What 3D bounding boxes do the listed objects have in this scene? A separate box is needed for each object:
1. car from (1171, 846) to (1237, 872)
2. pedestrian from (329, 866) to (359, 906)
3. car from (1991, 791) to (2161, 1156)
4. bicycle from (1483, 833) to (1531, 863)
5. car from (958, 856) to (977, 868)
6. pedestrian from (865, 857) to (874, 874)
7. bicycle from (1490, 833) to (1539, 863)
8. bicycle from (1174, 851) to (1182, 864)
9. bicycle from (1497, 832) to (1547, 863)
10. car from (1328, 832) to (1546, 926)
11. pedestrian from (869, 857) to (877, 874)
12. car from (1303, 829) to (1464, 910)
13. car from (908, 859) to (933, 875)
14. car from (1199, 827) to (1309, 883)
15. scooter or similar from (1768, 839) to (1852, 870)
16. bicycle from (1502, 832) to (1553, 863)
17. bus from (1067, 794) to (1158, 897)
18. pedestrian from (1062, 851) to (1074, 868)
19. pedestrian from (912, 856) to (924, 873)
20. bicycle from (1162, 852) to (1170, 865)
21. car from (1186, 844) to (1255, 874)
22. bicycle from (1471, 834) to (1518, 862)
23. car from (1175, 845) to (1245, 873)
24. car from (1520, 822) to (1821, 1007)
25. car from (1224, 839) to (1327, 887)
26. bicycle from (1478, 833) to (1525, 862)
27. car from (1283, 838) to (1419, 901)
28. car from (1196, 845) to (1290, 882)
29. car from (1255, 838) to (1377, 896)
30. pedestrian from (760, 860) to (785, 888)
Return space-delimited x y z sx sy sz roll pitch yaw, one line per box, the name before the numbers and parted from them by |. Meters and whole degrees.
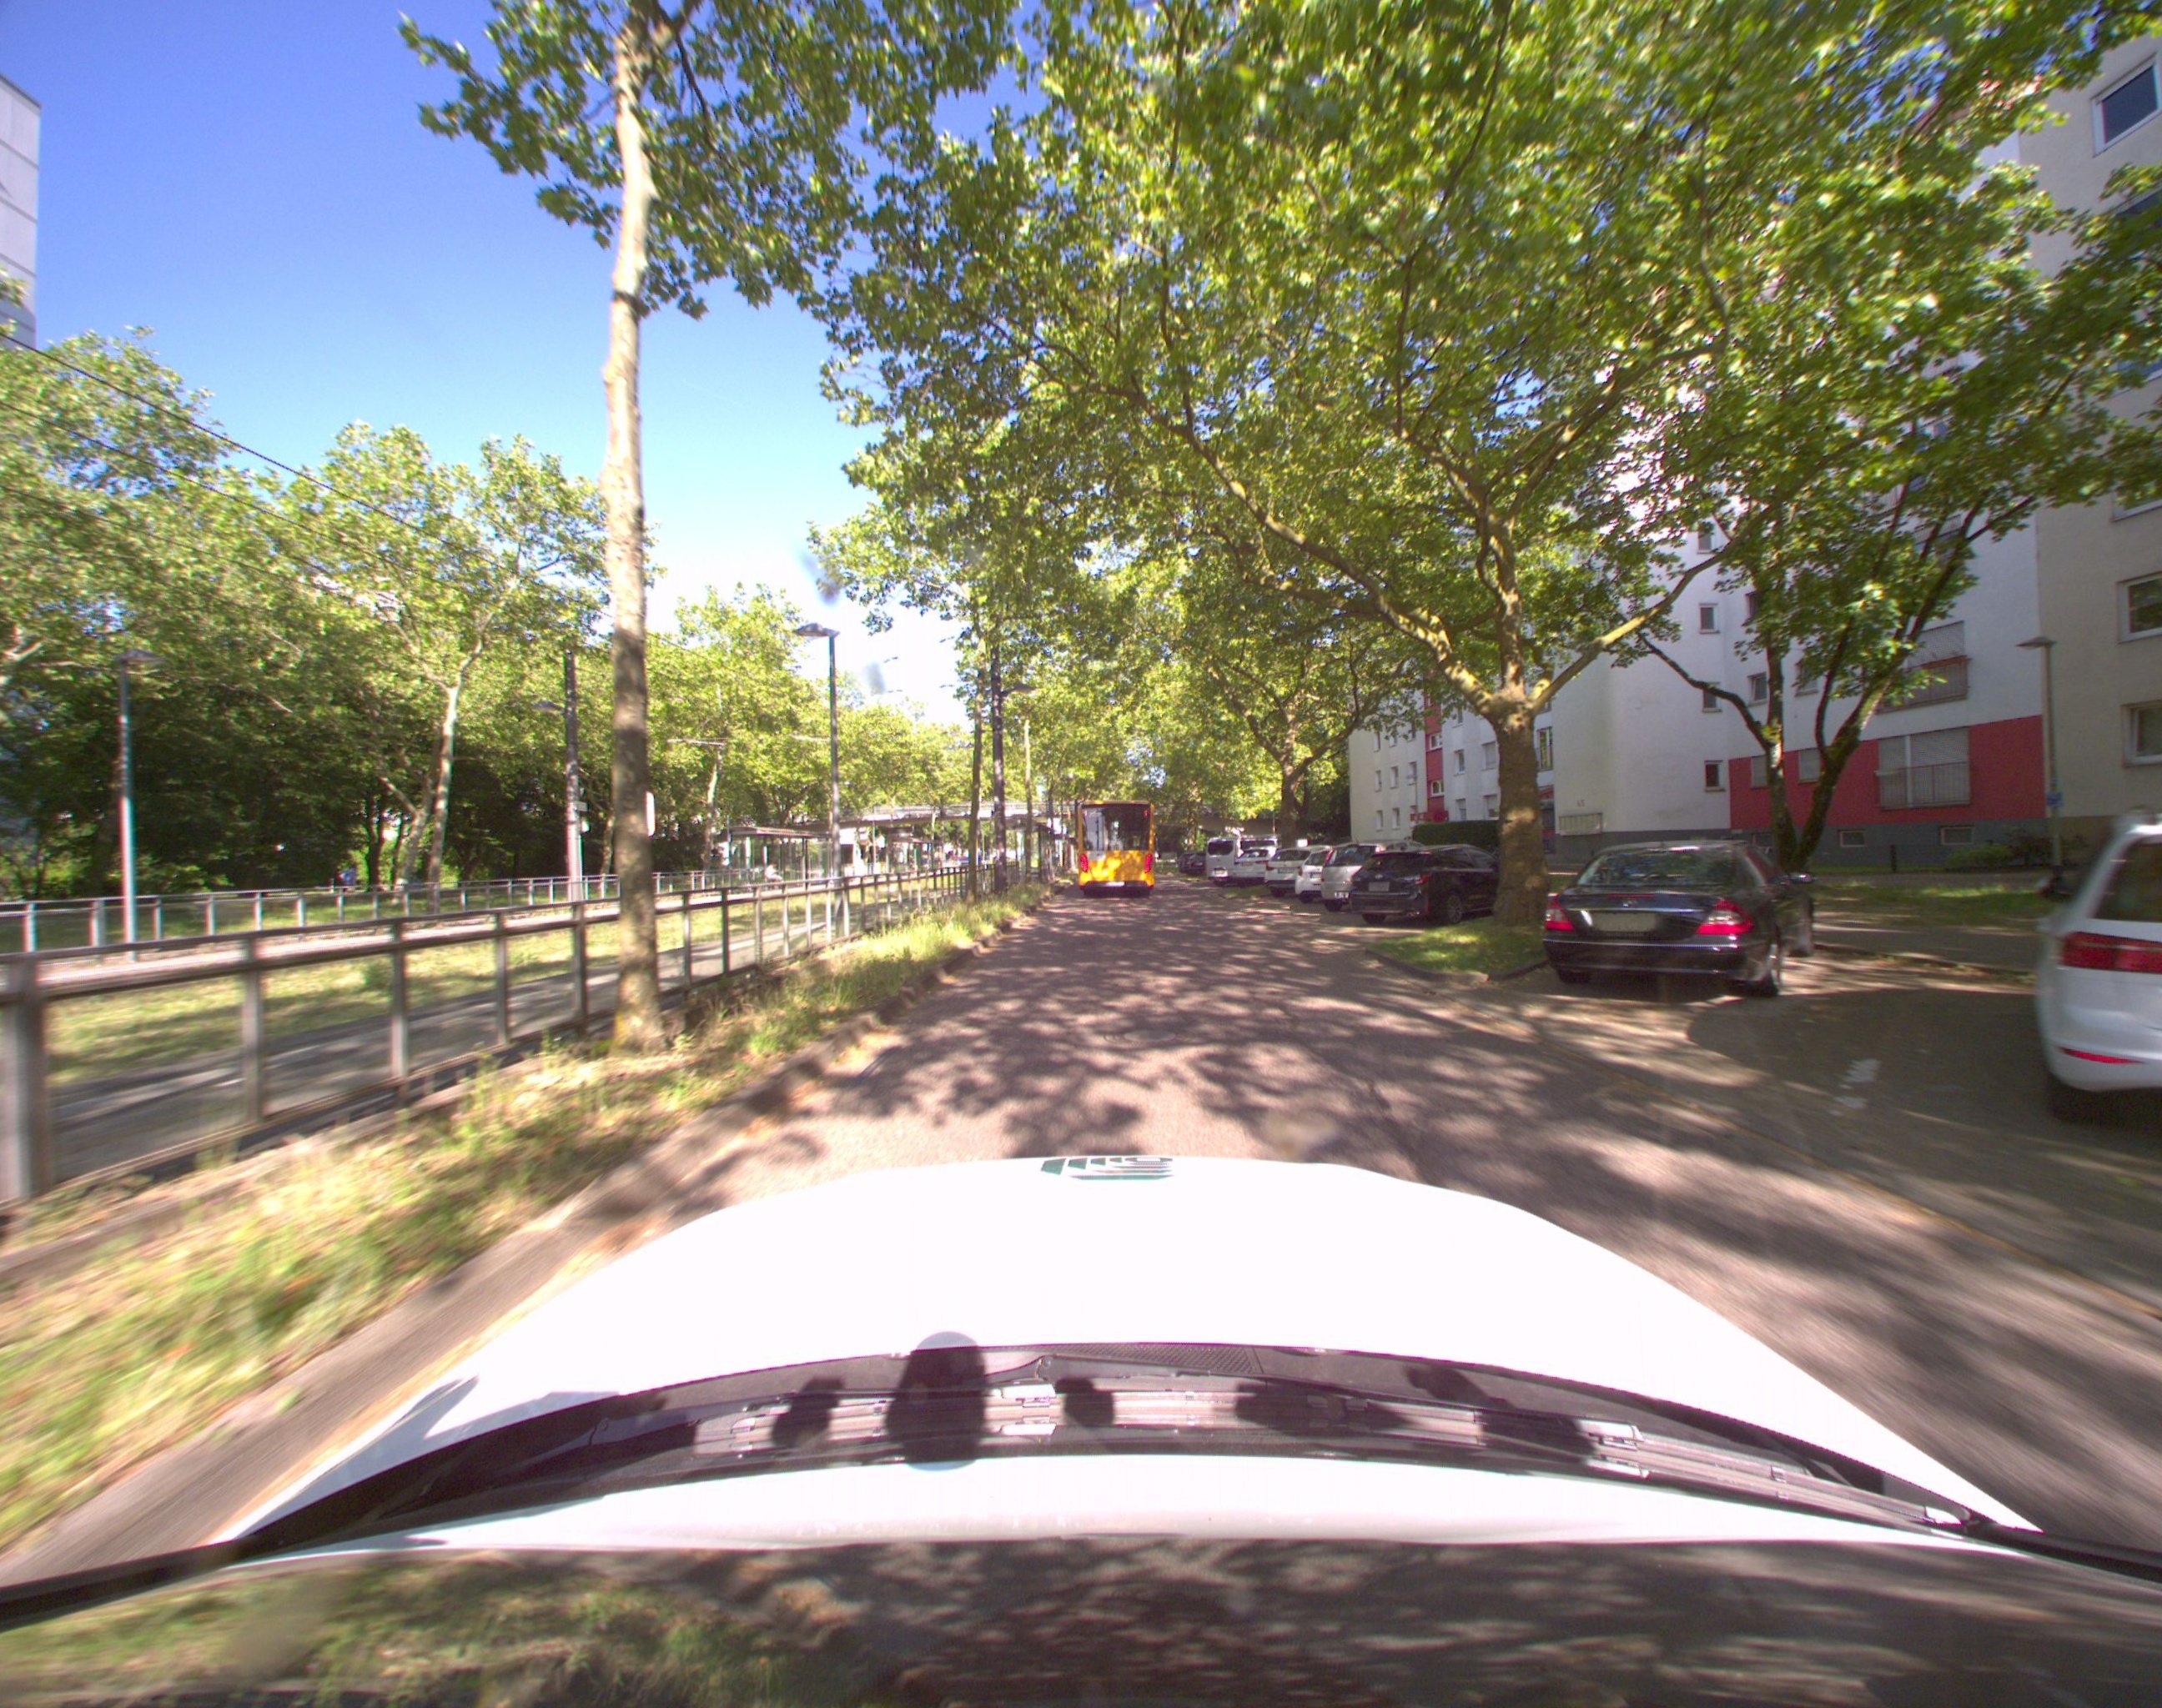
car | 8.173 0.329 54.018 4.278 1.461 1.779 -4 0 -39
pedestrian | -31.527 1.354 34.836 0.645 1.661 0.650 -1 0 3
car | 6.481 0.415 4.430 4.020 1.576 1.779 -3 0 -39
bicycle | 18.661 -0.264 35.649 1.790 1.129 0.499 -5 0 -4
car | -15.583 1.057 111.908 1.787 1.580 4.290 -2 0 2
pedestrian | -20.709 1.123 79.839 0.646 1.661 0.649 -2 0 -3
bicycle | 18.682 -0.267 35.093 1.790 1.129 0.499 -5 0 -4
bicycle | 9.881 0.351 82.876 0.588 1.182 1.801 -5 1 1
bicycle | 18.663 -0.279 34.494 1.790 1.129 0.549 -5 0 -3
car | 6.990 0.428 15.810 4.430 1.428 1.929 -4 0 -38
pedestrian | -20.588 1.114 80.577 0.646 1.661 0.649 -2 0 -3
car | 7.227 0.331 19.304 4.022 1.589 1.778 -4 0 -41
car | -16.967 1.376 86.113 1.789 1.566 4.285 -2 0 -1
car | 7.407 0.036 34.730 4.613 2.052 1.994 -4 0 -38
scooter or similar | 18.329 0.026 20.509 0.703 0.694 1.370 -3 -1 -22
bicycle | 18.577 -0.269 33.874 1.790 1.129 0.499 -5 0 -4
bus | 1.165 -0.272 32.681 2.889 3.266 12.220 -2 0 1
pedestrian | -0.958 0.419 61.888 0.851 1.243 0.851 0 0 3
pedestrian | -12.249 0.800 61.202 0.775 1.238 0.722 -1 0 0
bicycle | 8.693 0.465 82.948 0.588 1.182 1.801 -5 1 1
car | 8.194 0.290 47.680 4.022 1.468 1.761 -4 0 -41
bicycle | 18.715 -0.283 36.866 1.790 1.129 0.499 -5 0 -4
car | 8.085 0.294 50.844 4.278 1.461 1.779 -4 0 -38
car | 6.565 0.457 8.826 4.617 1.422 1.778 -3 0 -43
car | 7.648 0.314 31.878 4.080 1.580 1.811 -4 0 -41
bicycle | 18.710 -0.279 36.228 1.790 1.129 0.499 -5 0 -4
car | 7.541 0.405 22.564 4.023 1.419 1.809 -4 0 -43
car | 7.718 0.413 38.487 4.614 1.423 1.779 -4 0 -40
car | 7.422 0.379 25.476 1.777 1.510 4.238 -4 0 44
pedestrian | -13.574 0.866 35.852 0.763 1.183 0.763 -1 0 2
